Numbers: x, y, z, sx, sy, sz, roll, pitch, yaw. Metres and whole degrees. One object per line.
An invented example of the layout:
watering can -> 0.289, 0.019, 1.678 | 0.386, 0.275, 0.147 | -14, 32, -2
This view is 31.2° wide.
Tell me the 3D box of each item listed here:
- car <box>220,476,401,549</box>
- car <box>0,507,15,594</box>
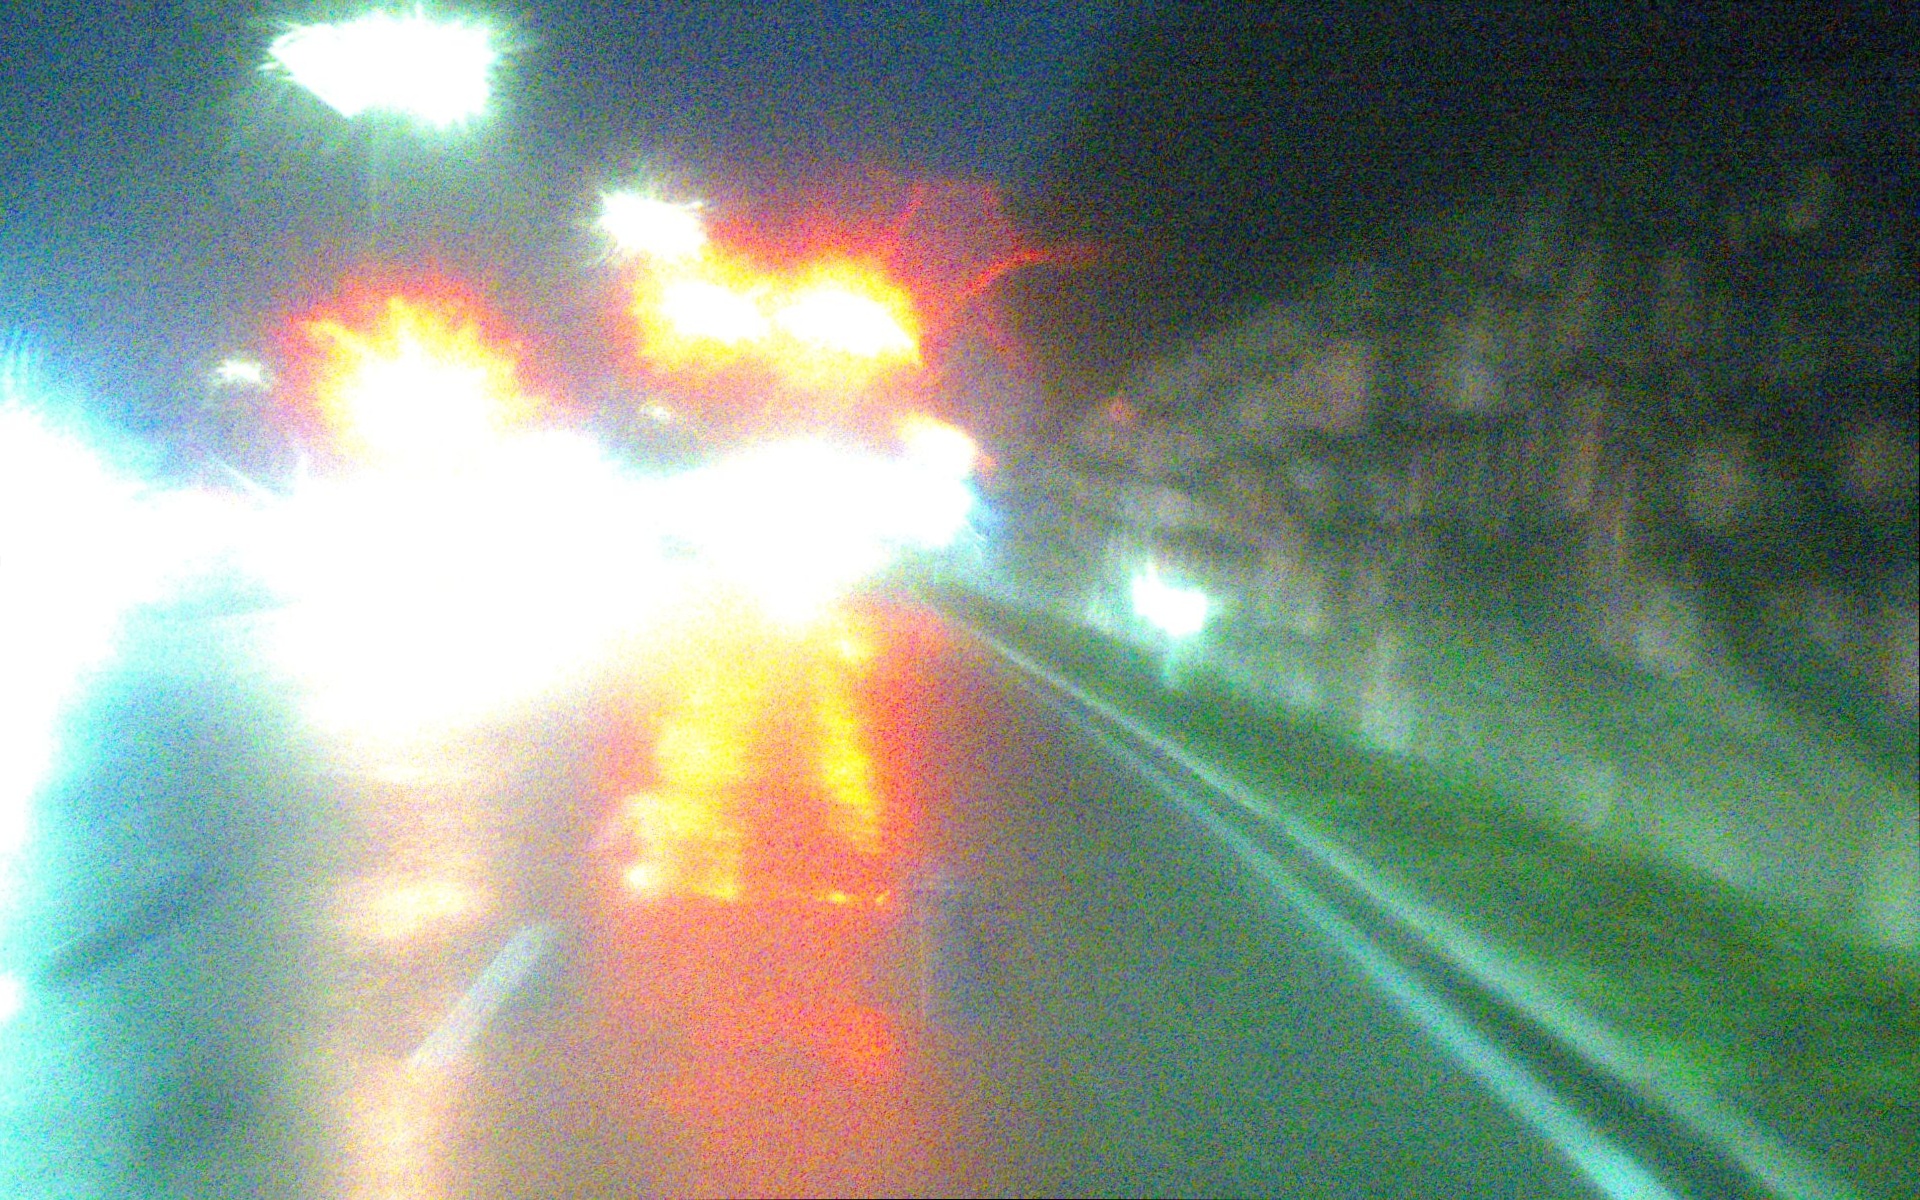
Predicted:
car -> -15.831, -2.124, 83.927 | 3.987, 1.656, 2.000 | 1, 1, 2
car -> -16.216, -0.782, 54.206 | 1.875, 1.392, 4.251 | 0, 1, -6
